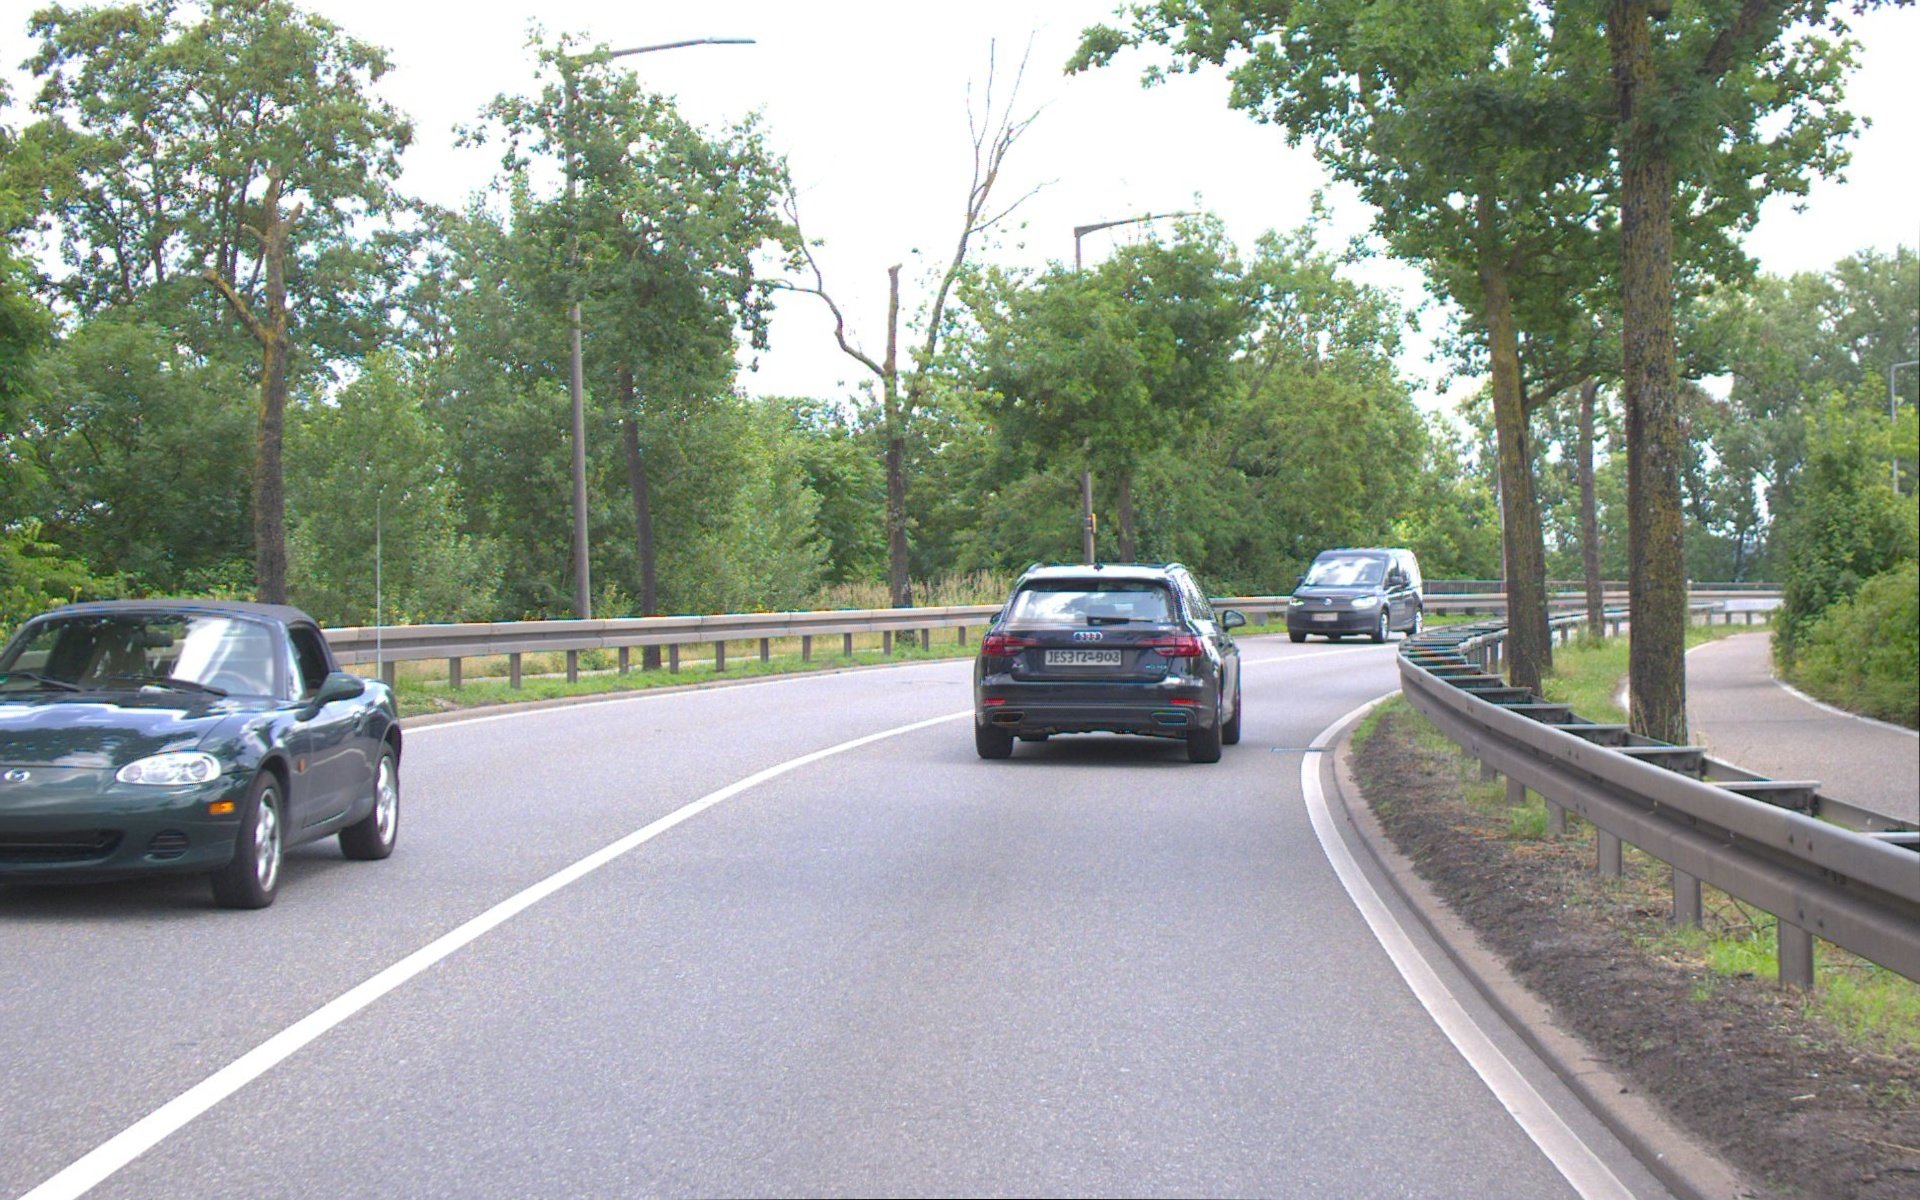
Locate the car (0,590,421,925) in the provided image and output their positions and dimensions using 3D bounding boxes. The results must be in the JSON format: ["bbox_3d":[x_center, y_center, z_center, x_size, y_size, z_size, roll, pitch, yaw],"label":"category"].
[{"bbox_3d":[-3.499,0.595,14.996,1.592,1.214,3.790,1,1,2],"label":"car"}]

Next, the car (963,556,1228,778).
[{"bbox_3d":[0.995,0.439,26.069,1.828,1.486,4.207,1,1,1],"label":"car"}]

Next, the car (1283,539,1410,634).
[{"bbox_3d":[7.384,-0.277,65.404,1.853,1.703,4.309,1,1,13],"label":"car"}]
